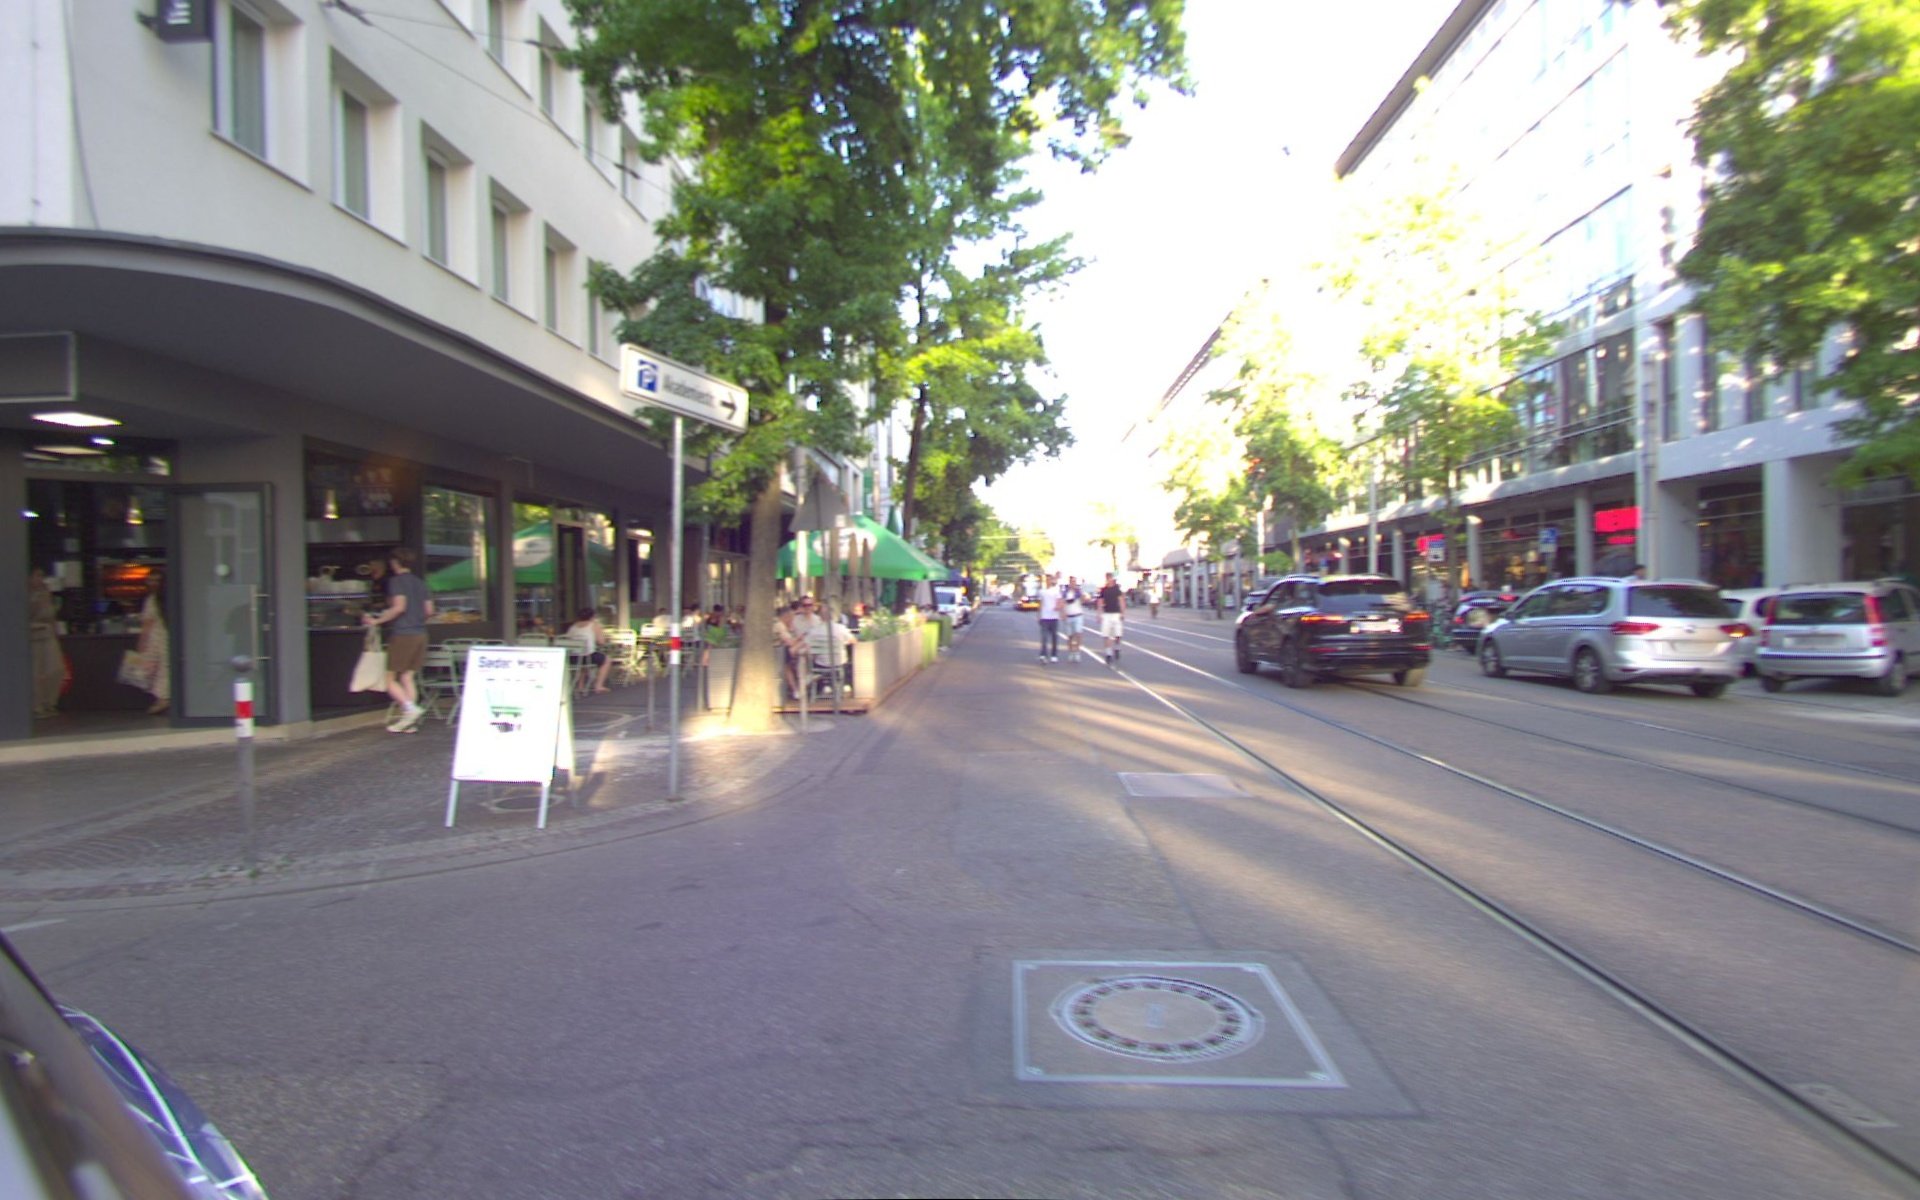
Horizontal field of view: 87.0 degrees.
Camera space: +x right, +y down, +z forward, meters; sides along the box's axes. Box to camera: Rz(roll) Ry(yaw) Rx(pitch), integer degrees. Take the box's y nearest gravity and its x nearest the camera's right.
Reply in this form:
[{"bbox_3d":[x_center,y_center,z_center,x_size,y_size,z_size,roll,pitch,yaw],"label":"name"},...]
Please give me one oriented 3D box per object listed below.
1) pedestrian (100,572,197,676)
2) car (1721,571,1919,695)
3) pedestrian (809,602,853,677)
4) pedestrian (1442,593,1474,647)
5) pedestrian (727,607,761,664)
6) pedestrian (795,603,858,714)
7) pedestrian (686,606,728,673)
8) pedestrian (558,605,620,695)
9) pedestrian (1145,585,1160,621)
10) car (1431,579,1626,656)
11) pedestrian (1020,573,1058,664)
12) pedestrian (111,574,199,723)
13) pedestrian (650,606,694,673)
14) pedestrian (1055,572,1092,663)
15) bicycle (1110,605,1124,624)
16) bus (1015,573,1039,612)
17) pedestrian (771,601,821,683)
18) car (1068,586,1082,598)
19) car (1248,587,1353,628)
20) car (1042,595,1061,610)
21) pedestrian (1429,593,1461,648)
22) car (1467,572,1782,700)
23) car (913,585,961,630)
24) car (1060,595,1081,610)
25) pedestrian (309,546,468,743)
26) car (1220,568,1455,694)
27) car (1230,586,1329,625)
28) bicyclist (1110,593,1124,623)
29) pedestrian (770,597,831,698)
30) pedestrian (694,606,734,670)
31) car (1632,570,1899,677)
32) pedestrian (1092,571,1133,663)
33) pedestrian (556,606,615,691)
[{"bbox_3d":[-10.234,0.288,12.780,0.644,1.269,0.674,-1,2,-1],"label":"pedestrian"},{"bbox_3d":[13.374,0.399,14.692,3.929,1.517,1.957,-3,-1,-24],"label":"car"},{"bbox_3d":[-2.470,0.740,19.436,0.721,1.368,0.714,-1,2,-1],"label":"pedestrian"},{"bbox_3d":[15.423,0.614,31.371,0.632,1.640,0.613,-1,0,-10],"label":"pedestrian"},{"bbox_3d":[-5.003,0.816,23.469,0.644,1.269,0.674,-1,2,-1],"label":"pedestrian"},{"bbox_3d":[-1.745,0.750,13.298,0.721,1.368,0.714,-1,2,-1],"label":"pedestrian"},{"bbox_3d":[-4.994,0.766,20.023,0.644,1.269,0.674,-1,2,-1],"label":"pedestrian"},{"bbox_3d":[-5.504,0.730,15.025,0.644,1.269,0.674,-1,2,-1],"label":"pedestrian"},{"bbox_3d":[10.977,0.180,57.707,0.640,2.029,0.795,-1,0,1],"label":"pedestrian"},{"bbox_3d":[13.465,0.408,23.984,3.929,1.517,1.957,-3,-1,-24],"label":"car"},{"bbox_3d":[1.717,0.391,21.976,0.705,1.916,1.066,-1,-1,9],"label":"pedestrian"},{"bbox_3d":[-8.921,0.517,11.210,0.742,1.584,0.603,0,-1,-41],"label":"pedestrian"},{"bbox_3d":[-5.700,0.779,20.040,0.644,1.269,0.674,-1,2,-1],"label":"pedestrian"},{"bbox_3d":[2.485,0.379,22.053,0.705,1.916,1.066,-1,-1,9],"label":"pedestrian"},{"bbox_3d":[9.750,0.884,62.921,0.505,1.159,2.057,-1,0,-1],"label":"bicycle"},{"bbox_3d":[6.257,-0.657,94.302,1.975,3.443,8.561,-1,0,5],"label":"bus"},{"bbox_3d":[-2.840,0.720,17.603,0.721,1.368,0.714,-1,2,-1],"label":"pedestrian"},{"bbox_3d":[16.095,-1.096,141.301,1.651,1.553,3.499,-1,0,2],"label":"car"},{"bbox_3d":[14.715,0.325,43.795,3.929,1.517,1.957,-3,-1,-24],"label":"car"},{"bbox_3d":[9.707,0.213,107.779,1.650,1.553,3.502,-1,0,0],"label":"car"},{"bbox_3d":[14.900,0.618,31.072,0.632,1.640,0.613,-1,0,-10],"label":"pedestrian"},{"bbox_3d":[9.530,0.452,15.018,1.803,1.604,4.284,1,0,0],"label":"car"},{"bbox_3d":[-0.985,0.364,45.948,1.973,1.929,3.998,-1,-1,1],"label":"car"},{"bbox_3d":[12.711,0.337,116.698,1.903,1.653,3.723,-1,-1,-1],"label":"car"},{"bbox_3d":[-5.930,0.449,10.533,1.063,1.916,1.021,-1,-1,25],"label":"pedestrian"},{"bbox_3d":[5.892,0.405,16.575,1.994,1.739,4.946,-1,1,0],"label":"car"},{"bbox_3d":[14.621,0.244,46.364,3.929,1.517,1.957,-3,-1,-24],"label":"car"},{"bbox_3d":[9.748,0.504,62.811,0.645,1.869,0.991,-1,-2,1],"label":"bicyclist"},{"bbox_3d":[-2.252,0.657,14.364,0.721,1.368,0.714,-1,2,-1],"label":"pedestrian"},{"bbox_3d":[-5.102,0.783,21.041,0.644,1.269,0.674,-1,2,-1],"label":"pedestrian"},{"bbox_3d":[14.077,0.386,17.703,3.929,1.517,1.957,-3,-1,-24],"label":"car"},{"bbox_3d":[3.300,0.363,21.878,0.818,1.916,1.066,-1,-1,10],"label":"pedestrian"},{"bbox_3d":[-5.868,0.749,15.891,0.644,1.269,0.674,-1,2,-1],"label":"pedestrian"}]
